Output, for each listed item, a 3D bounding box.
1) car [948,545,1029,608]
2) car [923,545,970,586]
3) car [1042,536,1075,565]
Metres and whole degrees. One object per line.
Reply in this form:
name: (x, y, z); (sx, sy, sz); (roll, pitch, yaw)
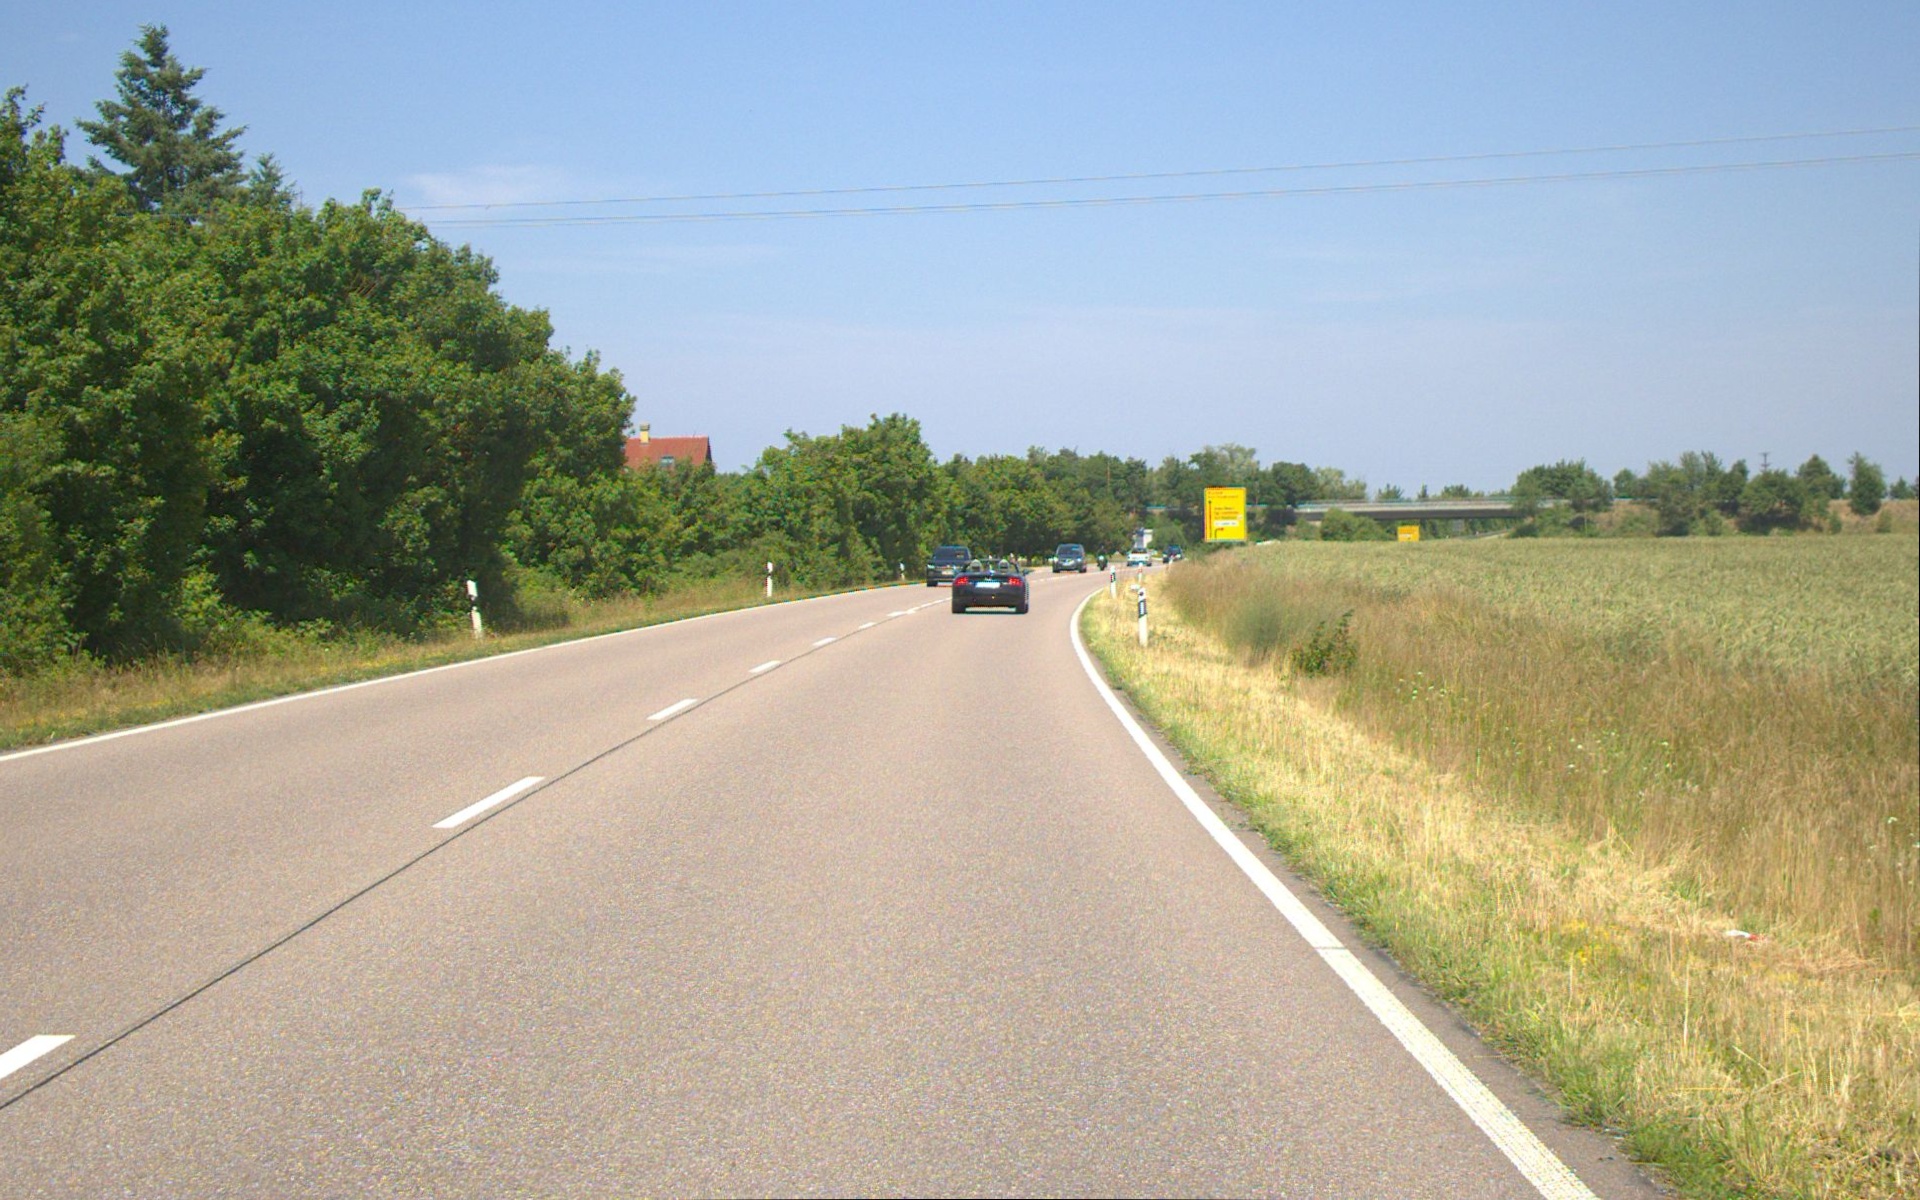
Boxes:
car: (0.694, -0.570, 81.895); (1.814, 1.436, 4.000); (1, 1, 2)
car: (-0.515, -1.364, 135.105); (1.699, 1.561, 3.671); (0, 1, 2)
car: (5.991, -3.006, 208.273); (1.819, 1.695, 5.001); (0, 1, 3)
